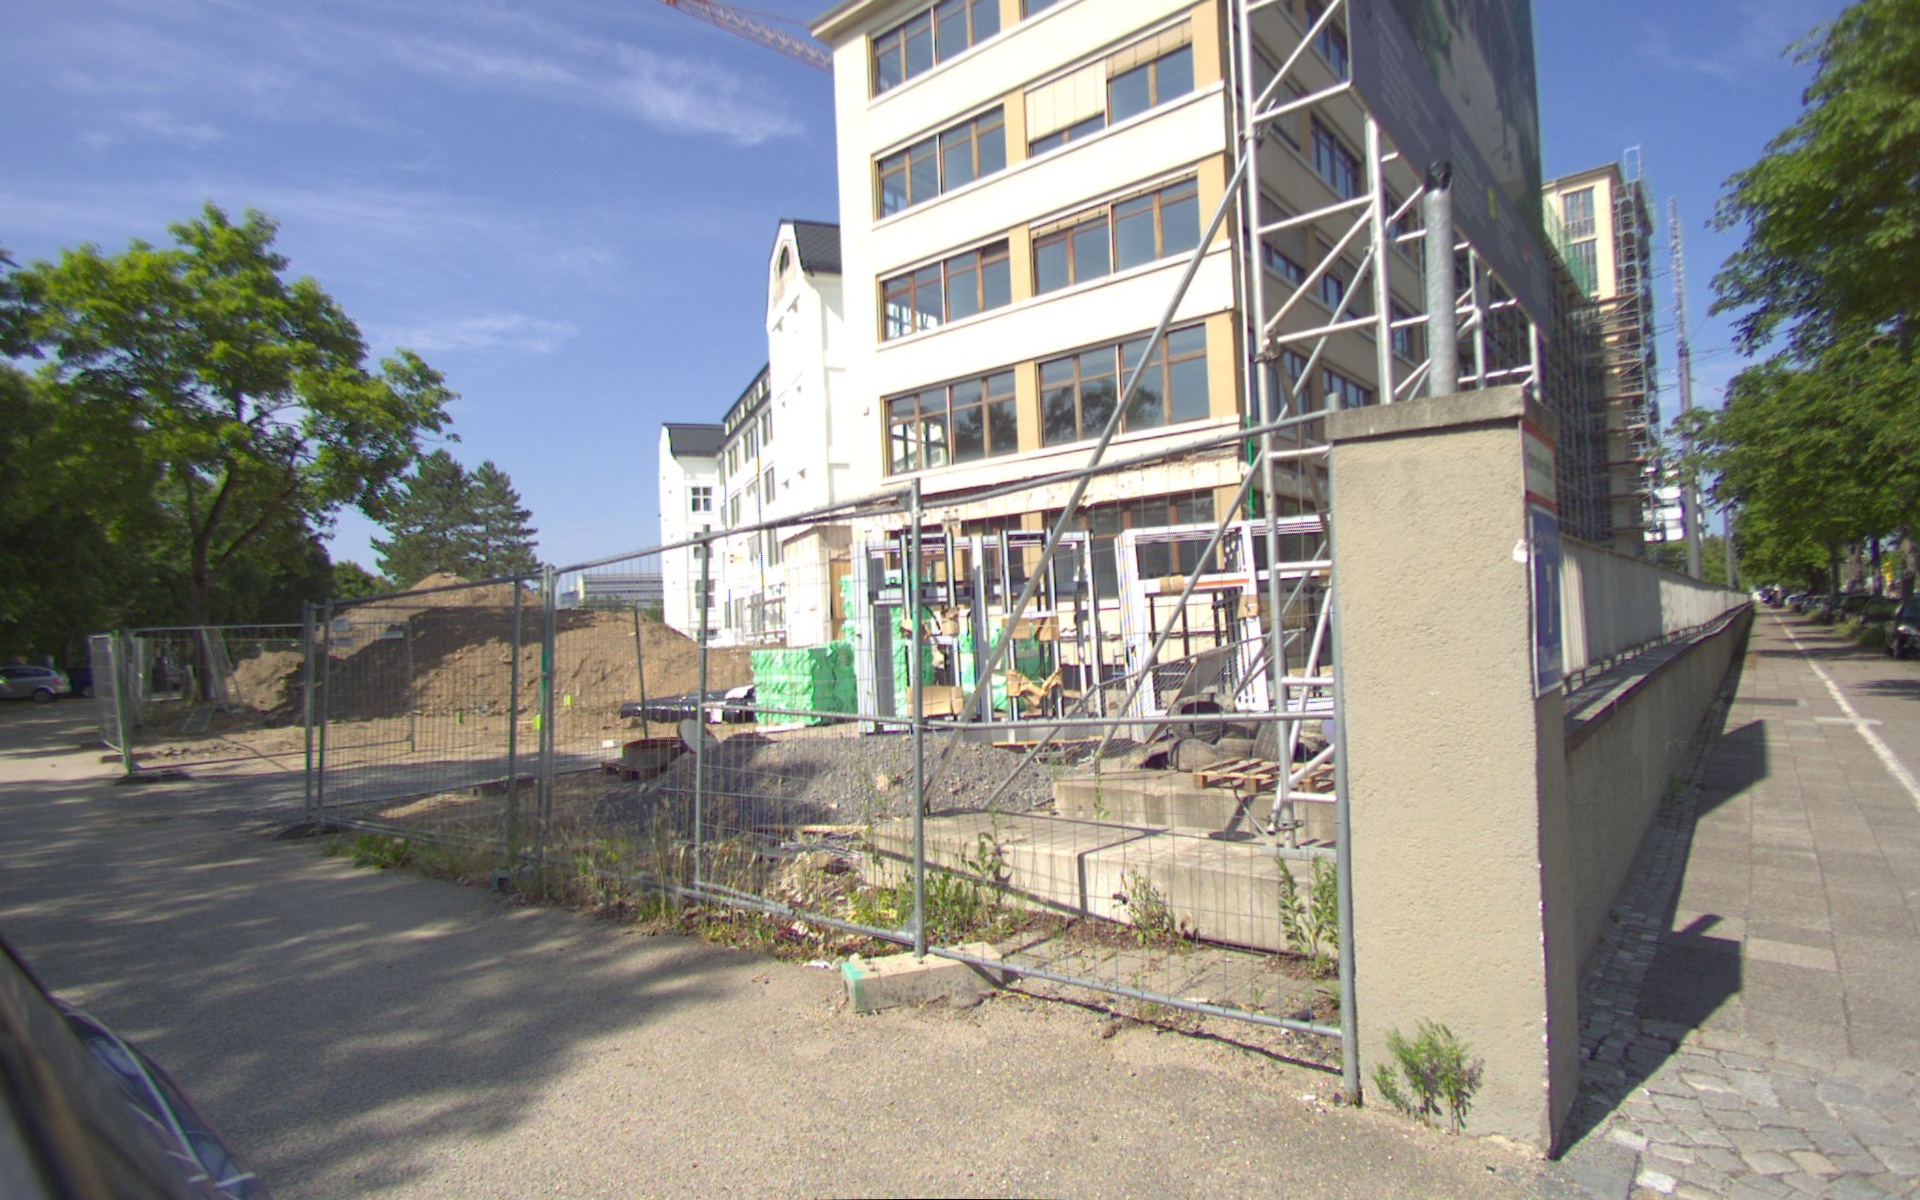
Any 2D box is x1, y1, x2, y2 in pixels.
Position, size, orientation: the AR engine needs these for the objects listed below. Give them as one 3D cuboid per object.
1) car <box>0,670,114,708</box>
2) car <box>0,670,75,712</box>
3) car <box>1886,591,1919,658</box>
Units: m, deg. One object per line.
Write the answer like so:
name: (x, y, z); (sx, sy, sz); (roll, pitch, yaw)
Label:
car: (-40.636, 3.965, 45.301); (3.932, 1.453, 2.006); (-1, -2, -31)
car: (-38.217, 3.662, 40.479); (3.932, 1.519, 2.006); (-1, -2, -31)
car: (22.685, 0.495, 23.161); (1.819, 1.464, 3.949); (-4, -2, 38)
